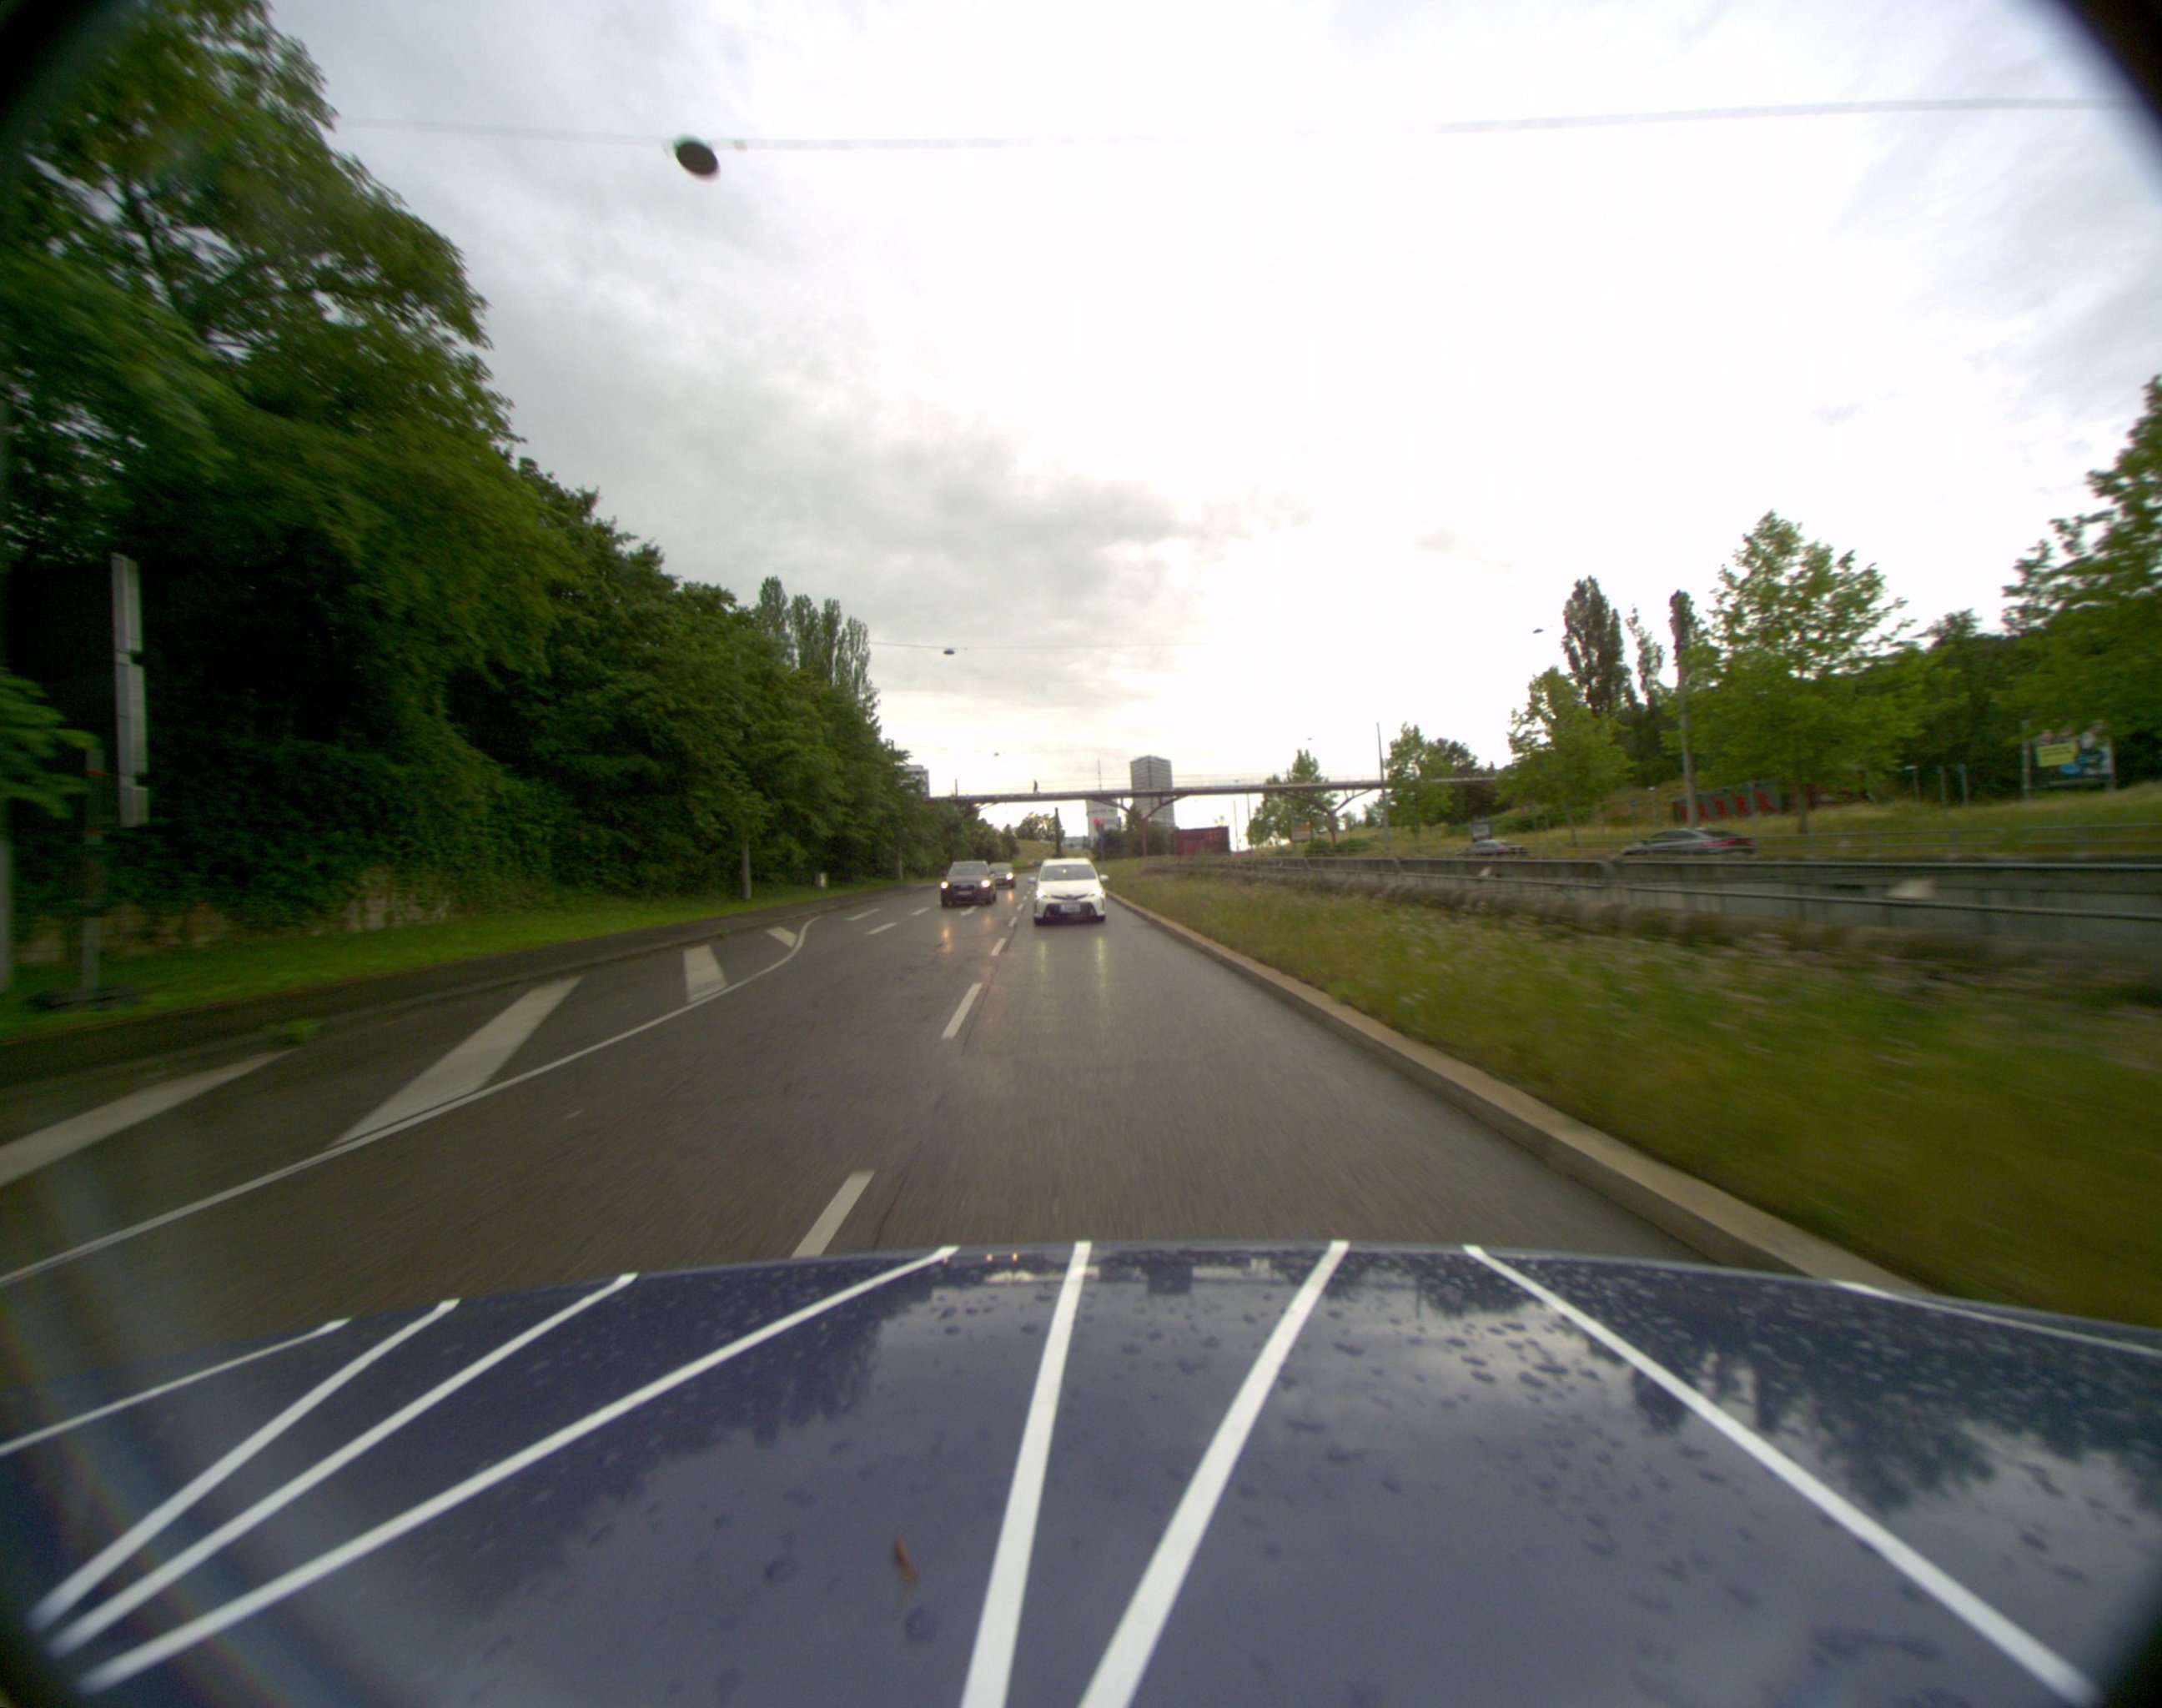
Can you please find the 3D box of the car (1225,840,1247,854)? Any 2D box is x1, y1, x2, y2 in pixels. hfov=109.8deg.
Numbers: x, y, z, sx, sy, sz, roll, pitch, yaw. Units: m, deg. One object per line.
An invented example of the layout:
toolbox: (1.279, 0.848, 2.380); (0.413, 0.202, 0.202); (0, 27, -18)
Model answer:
car: (18.892, -0.795, 92.783); (1.661, 1.518, 4.435); (-4, -1, -2)

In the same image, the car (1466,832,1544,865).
car: (22.922, -0.271, 41.248); (1.896, 1.631, 3.972); (-3, 0, -1)

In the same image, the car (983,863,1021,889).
car: (-4.546, 1.250, 44.182); (1.846, 1.377, 4.000); (-3, 0, -1)

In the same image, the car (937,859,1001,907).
car: (-4.121, 1.013, 28.467); (1.928, 1.591, 4.278); (-2, 0, -3)

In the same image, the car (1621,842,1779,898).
car: (21.802, 0.532, 27.028); (1.896, 1.634, 4.357); (-6, 0, -1)

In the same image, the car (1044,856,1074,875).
car: (-2.192, 1.152, 77.848); (1.997, 1.761, 4.004); (-4, 0, 13)

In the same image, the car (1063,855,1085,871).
car: (-0.824, 1.061, 91.633); (1.997, 1.761, 4.003); (-1, 0, 10)

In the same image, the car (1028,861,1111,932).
car: (-0.217, 1.012, 19.971); (1.924, 1.604, 4.375); (-1, 0, 1)

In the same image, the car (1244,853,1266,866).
car: (23.878, 0.715, 104.371); (1.661, 1.565, 3.790); (-6, 0, -5)
